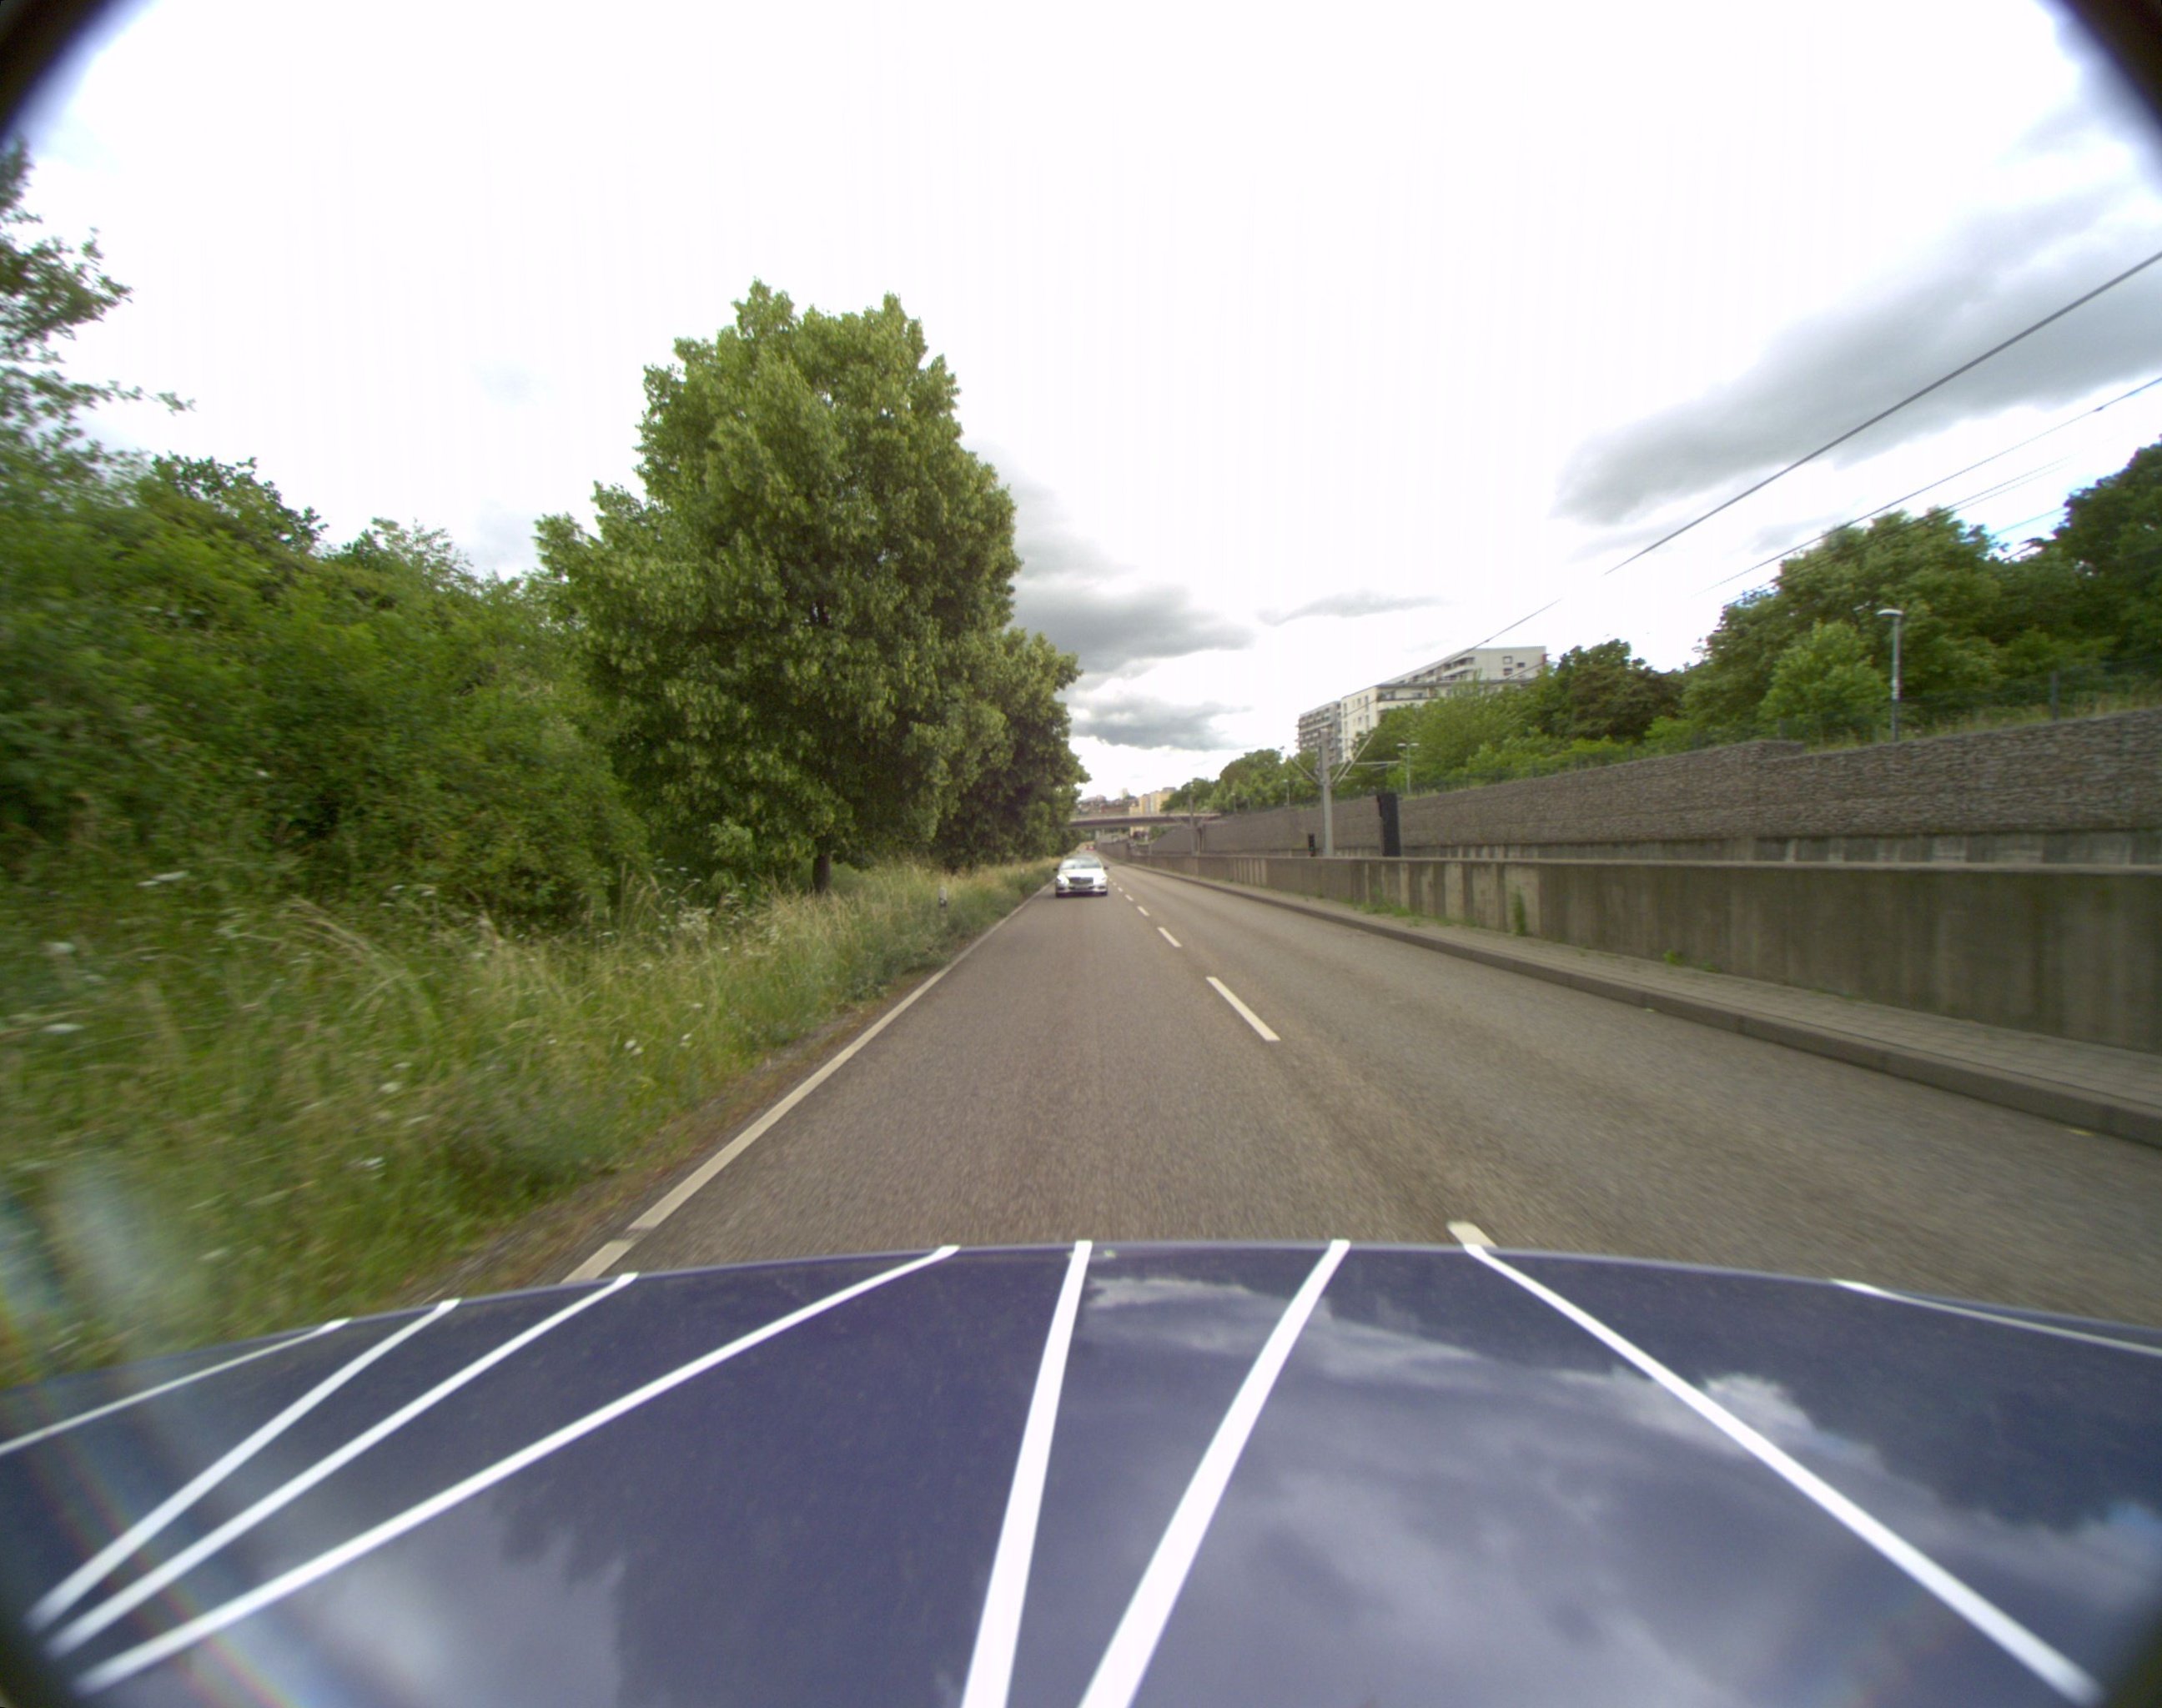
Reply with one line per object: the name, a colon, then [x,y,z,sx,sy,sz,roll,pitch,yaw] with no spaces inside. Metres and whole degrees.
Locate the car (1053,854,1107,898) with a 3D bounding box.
car: [-0.022,0.765,28.430,1.842,1.499,4.160,-1,0,1]

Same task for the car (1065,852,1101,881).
car: [0.131,0.698,43.339,1.878,1.459,3.999,-2,1,1]
